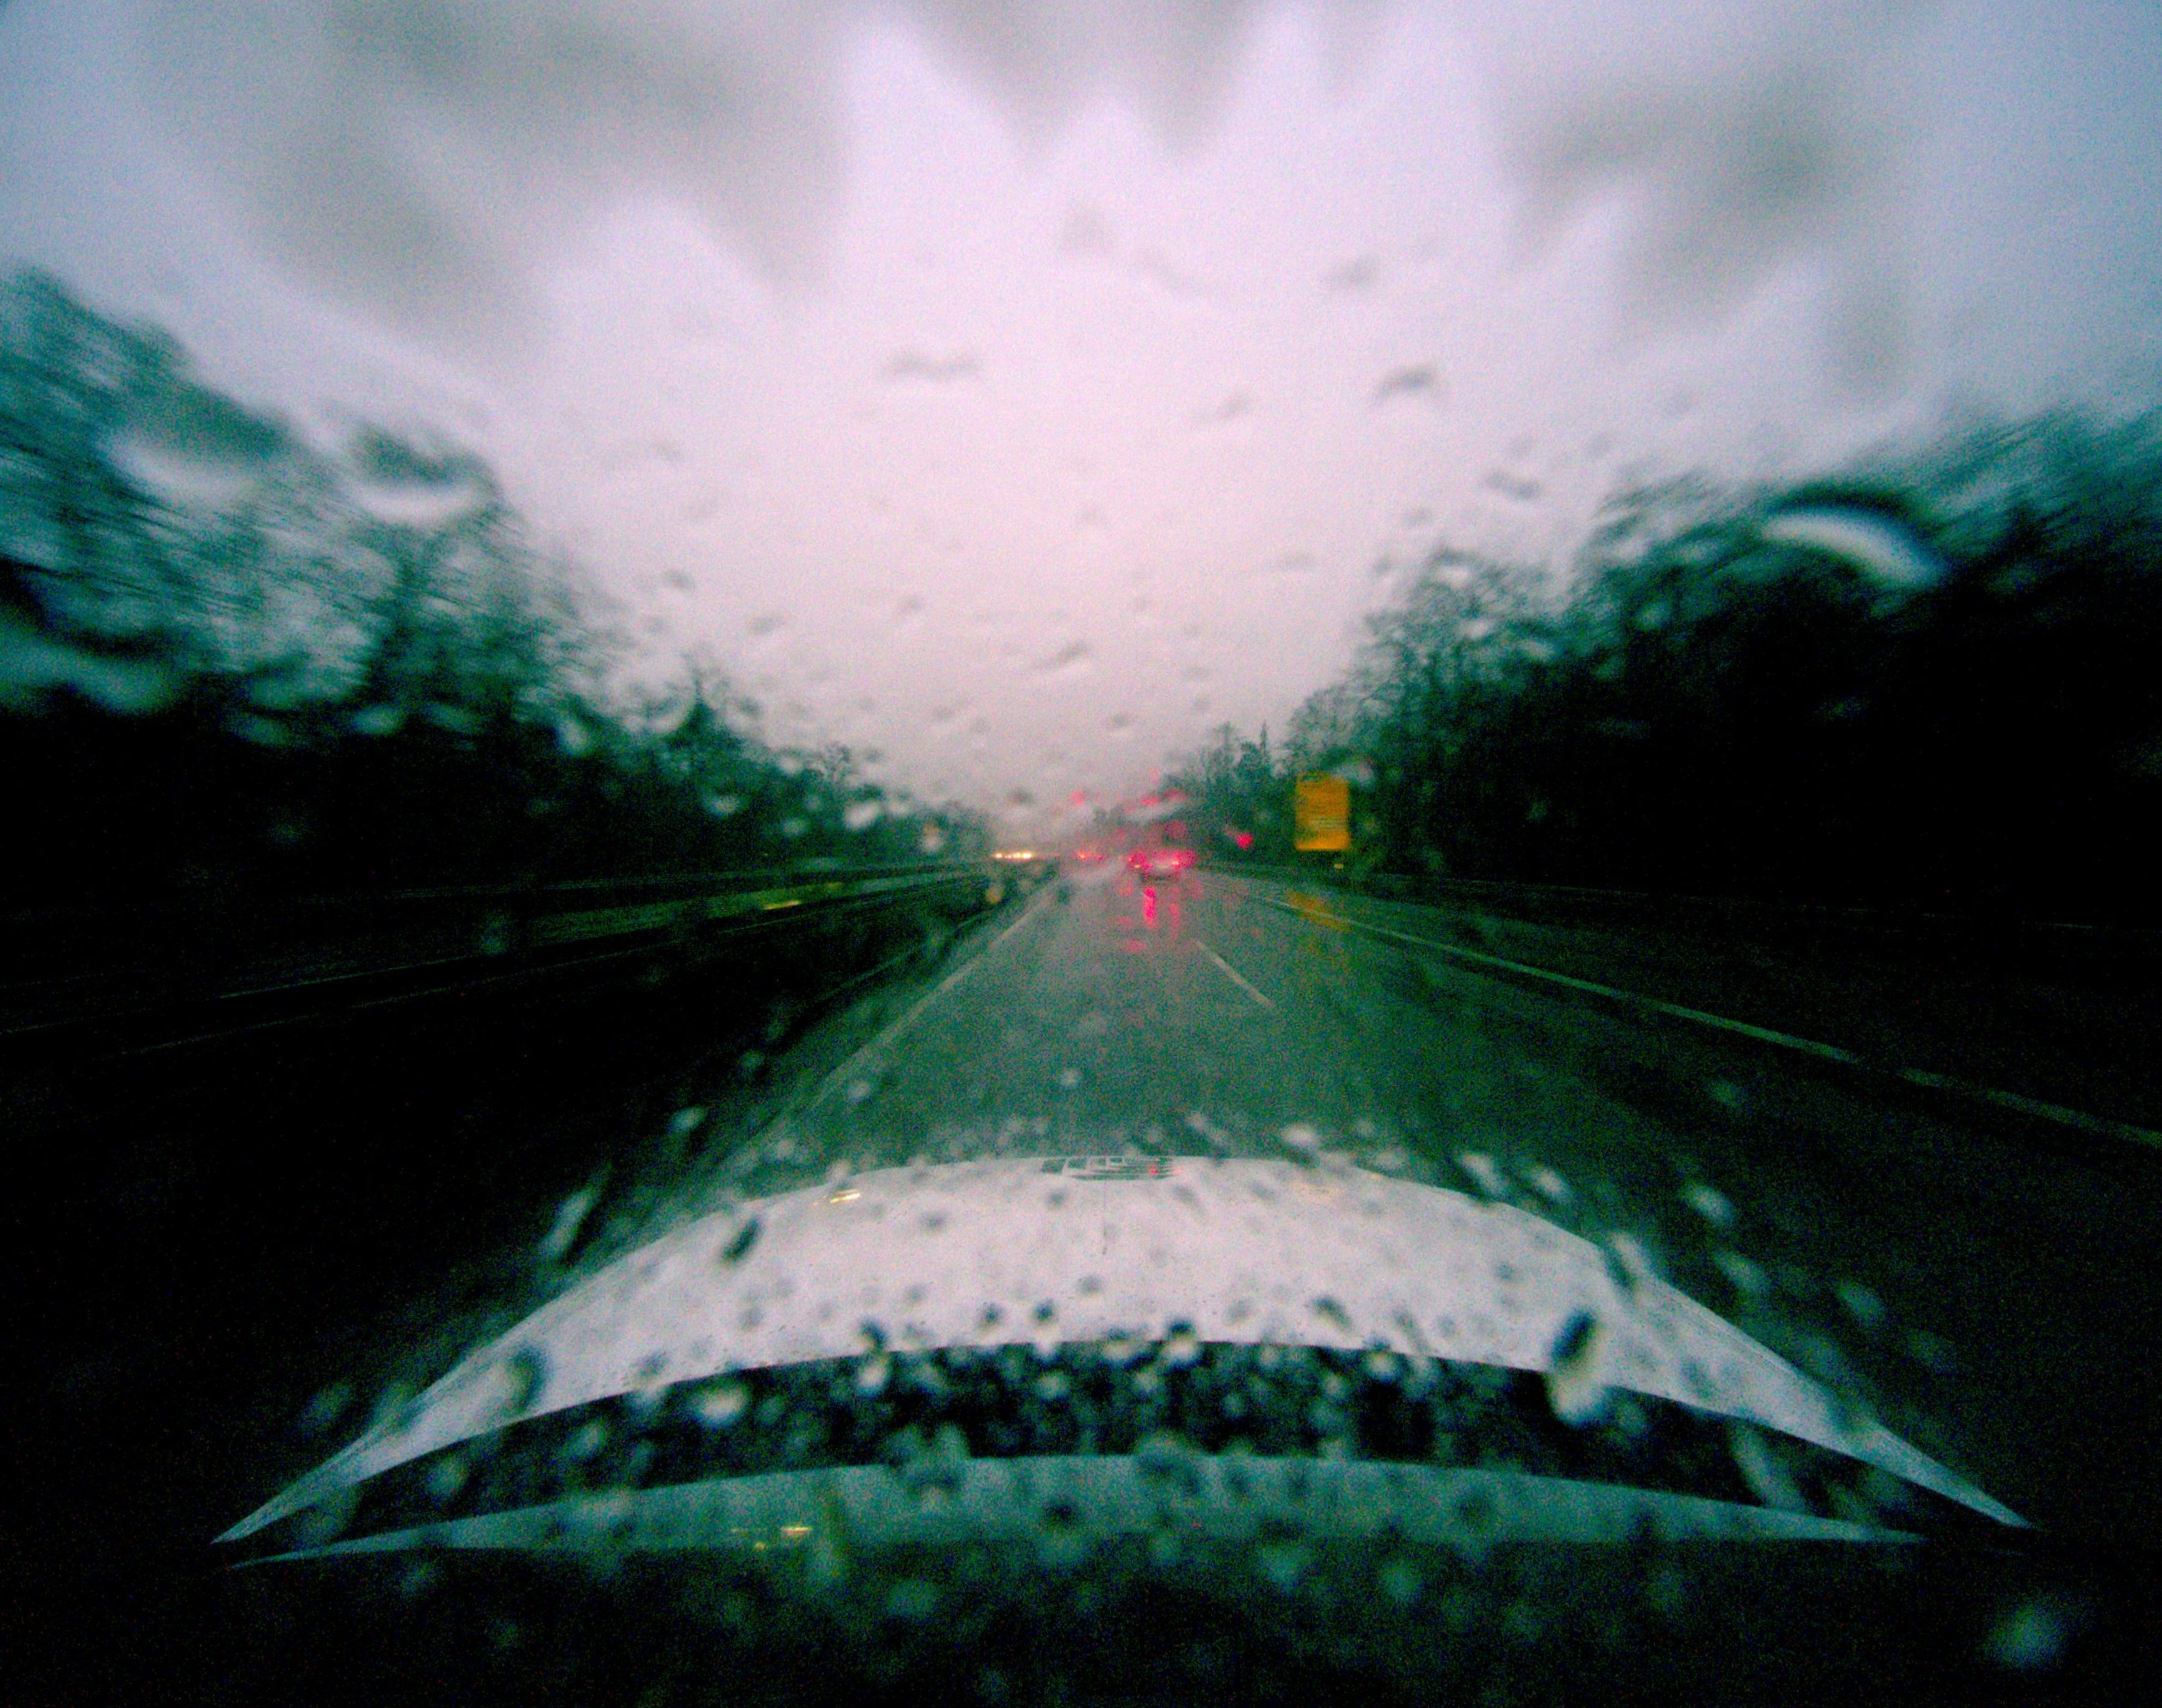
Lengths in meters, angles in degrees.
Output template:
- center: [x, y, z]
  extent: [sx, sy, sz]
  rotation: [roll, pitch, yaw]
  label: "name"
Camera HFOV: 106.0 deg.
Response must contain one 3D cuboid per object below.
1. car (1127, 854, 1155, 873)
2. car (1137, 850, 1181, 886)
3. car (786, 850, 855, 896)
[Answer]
- center: [4.902, 0.794, 66.935]
  extent: [1.986, 1.420, 4.000]
  rotation: [1, -1, 1]
  label: "car"
- center: [3.877, 0.665, 41.098]
  extent: [1.984, 1.715, 3.832]
  rotation: [-1, 0, 2]
  label: "car"
- center: [-9.898, 0.706, 31.167]
  extent: [1.585, 1.628, 3.795]
  rotation: [0, 0, -3]
  label: "car"
